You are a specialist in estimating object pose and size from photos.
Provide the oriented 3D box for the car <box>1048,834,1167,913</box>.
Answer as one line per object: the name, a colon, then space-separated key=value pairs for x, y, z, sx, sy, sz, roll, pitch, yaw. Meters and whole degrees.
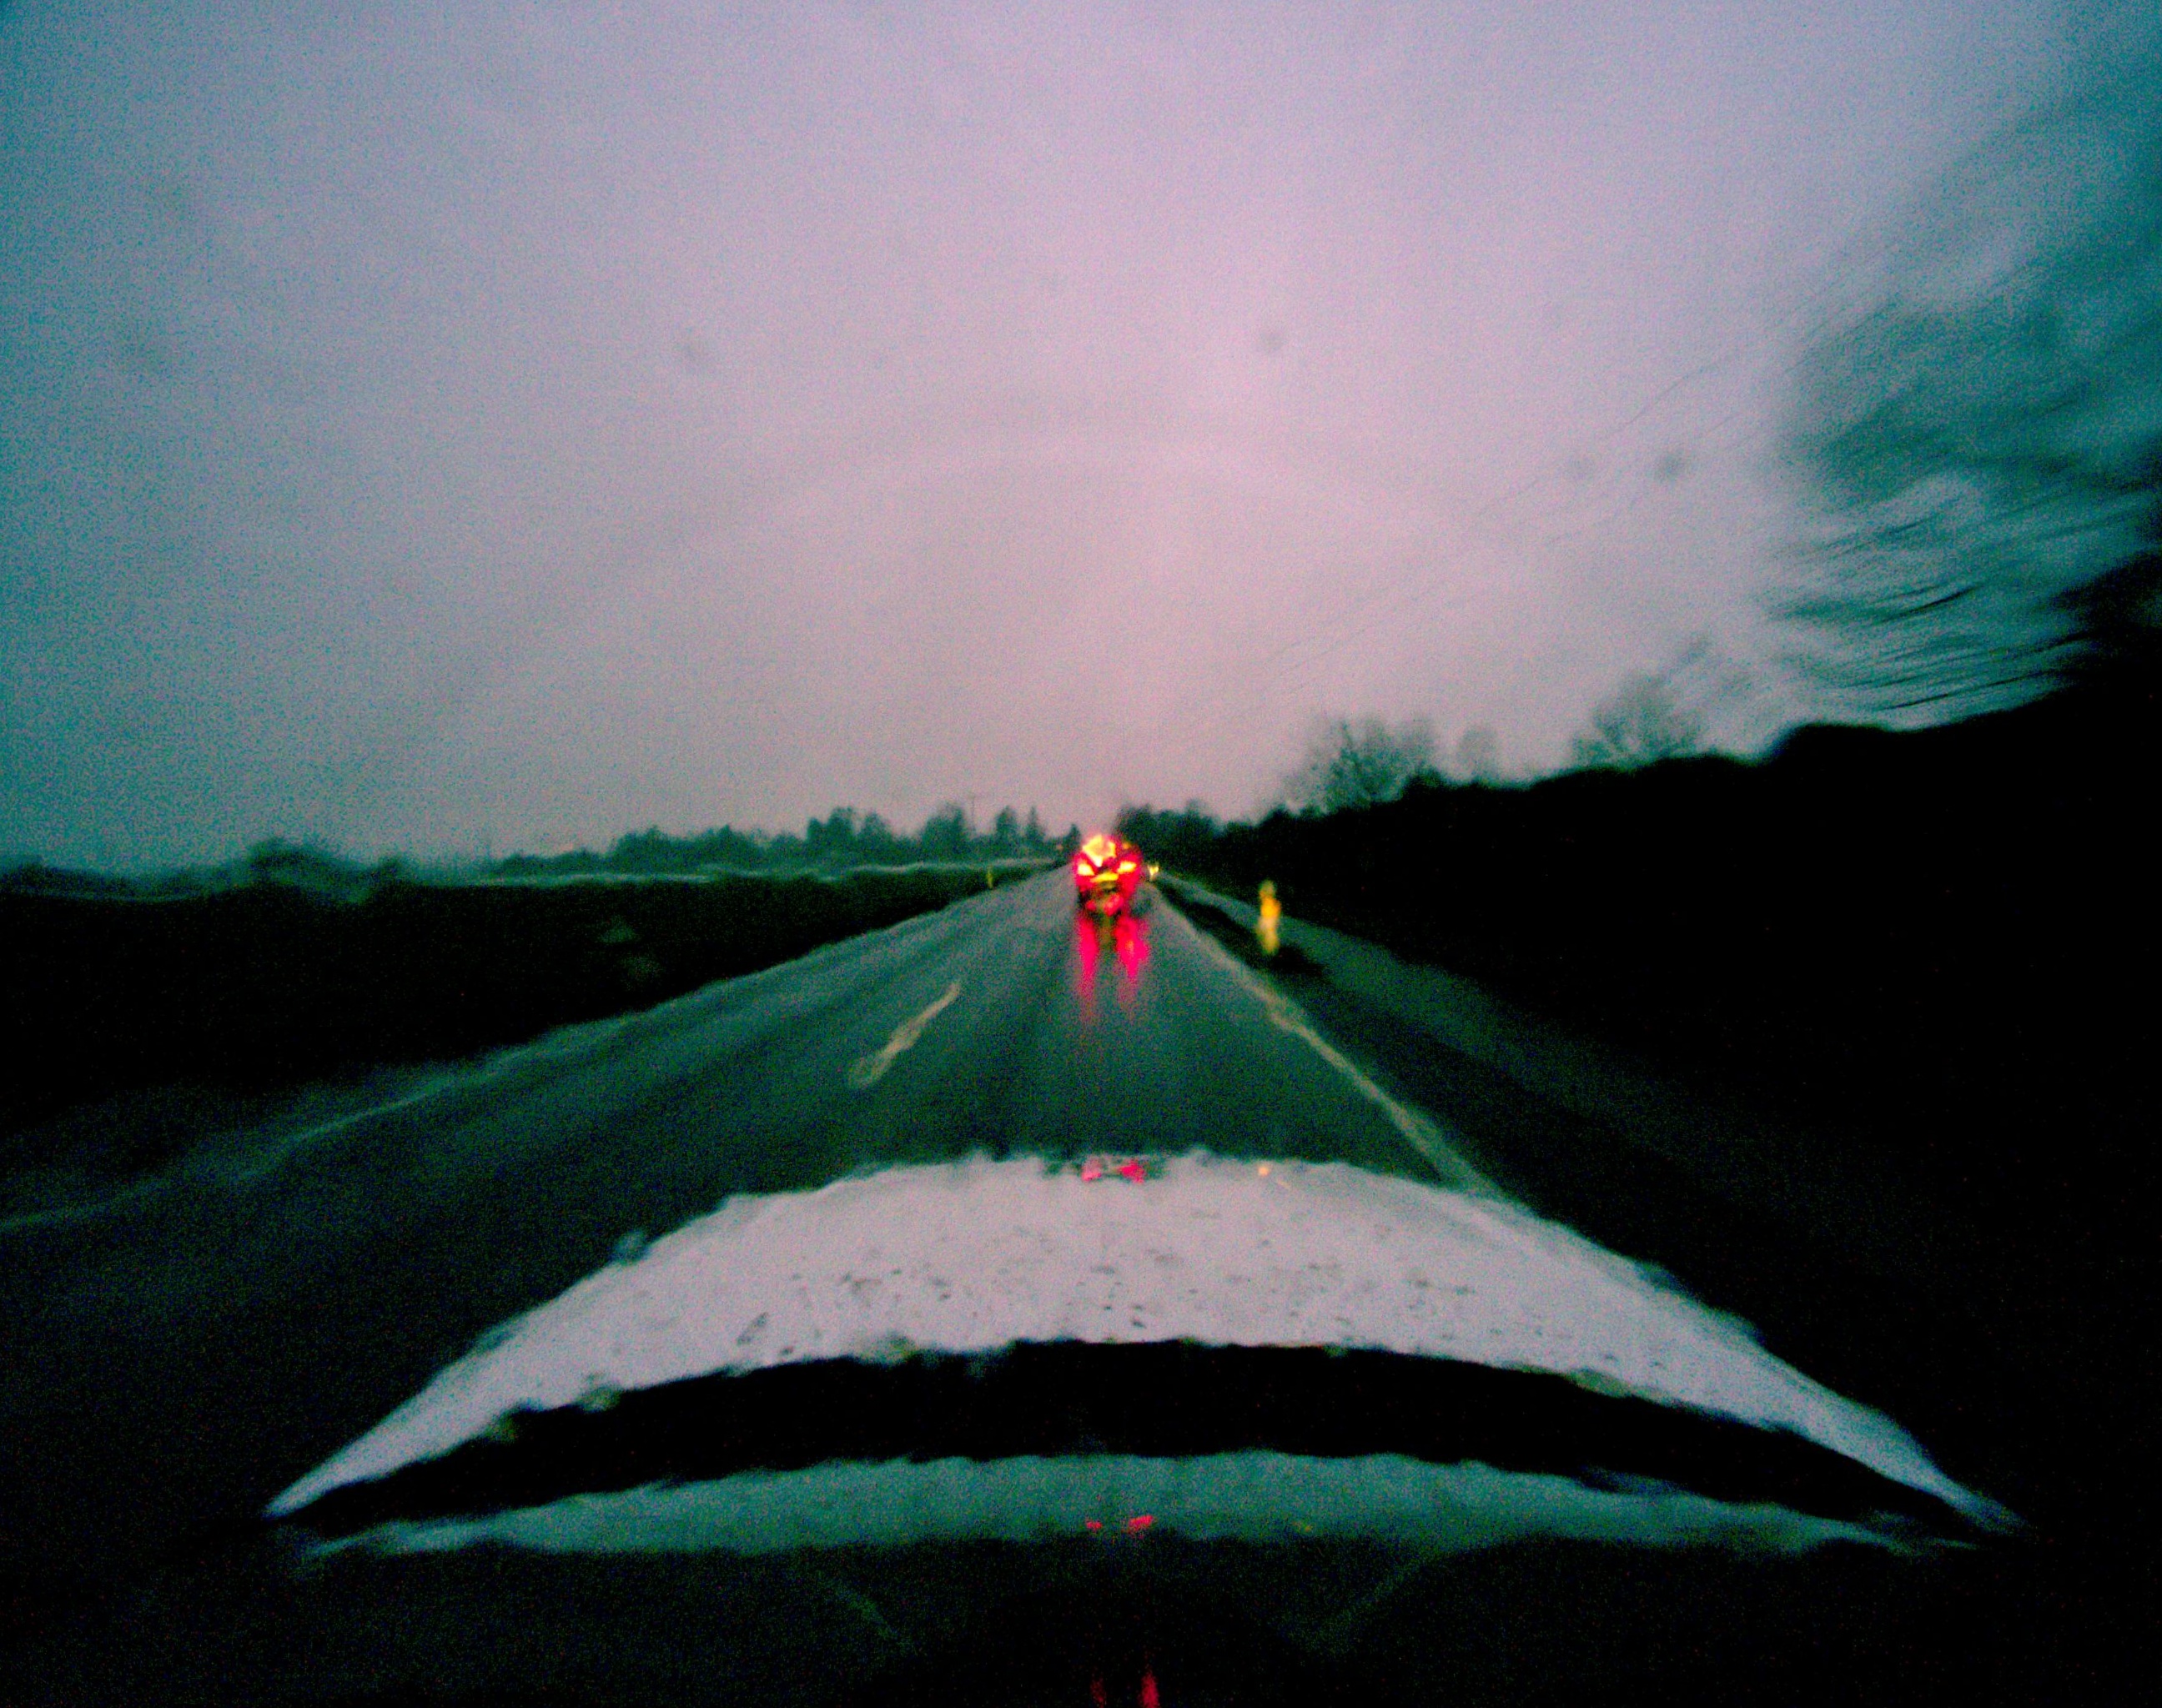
car: x=0.852 y=0.506 z=25.606 sx=3.152 sy=2.035 sz=6.855 roll=-2 pitch=0 yaw=2

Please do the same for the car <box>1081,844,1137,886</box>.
car: x=1.520 y=0.524 z=44.321 sx=2.745 sy=2.035 sz=6.594 roll=-2 pitch=0 yaw=2
